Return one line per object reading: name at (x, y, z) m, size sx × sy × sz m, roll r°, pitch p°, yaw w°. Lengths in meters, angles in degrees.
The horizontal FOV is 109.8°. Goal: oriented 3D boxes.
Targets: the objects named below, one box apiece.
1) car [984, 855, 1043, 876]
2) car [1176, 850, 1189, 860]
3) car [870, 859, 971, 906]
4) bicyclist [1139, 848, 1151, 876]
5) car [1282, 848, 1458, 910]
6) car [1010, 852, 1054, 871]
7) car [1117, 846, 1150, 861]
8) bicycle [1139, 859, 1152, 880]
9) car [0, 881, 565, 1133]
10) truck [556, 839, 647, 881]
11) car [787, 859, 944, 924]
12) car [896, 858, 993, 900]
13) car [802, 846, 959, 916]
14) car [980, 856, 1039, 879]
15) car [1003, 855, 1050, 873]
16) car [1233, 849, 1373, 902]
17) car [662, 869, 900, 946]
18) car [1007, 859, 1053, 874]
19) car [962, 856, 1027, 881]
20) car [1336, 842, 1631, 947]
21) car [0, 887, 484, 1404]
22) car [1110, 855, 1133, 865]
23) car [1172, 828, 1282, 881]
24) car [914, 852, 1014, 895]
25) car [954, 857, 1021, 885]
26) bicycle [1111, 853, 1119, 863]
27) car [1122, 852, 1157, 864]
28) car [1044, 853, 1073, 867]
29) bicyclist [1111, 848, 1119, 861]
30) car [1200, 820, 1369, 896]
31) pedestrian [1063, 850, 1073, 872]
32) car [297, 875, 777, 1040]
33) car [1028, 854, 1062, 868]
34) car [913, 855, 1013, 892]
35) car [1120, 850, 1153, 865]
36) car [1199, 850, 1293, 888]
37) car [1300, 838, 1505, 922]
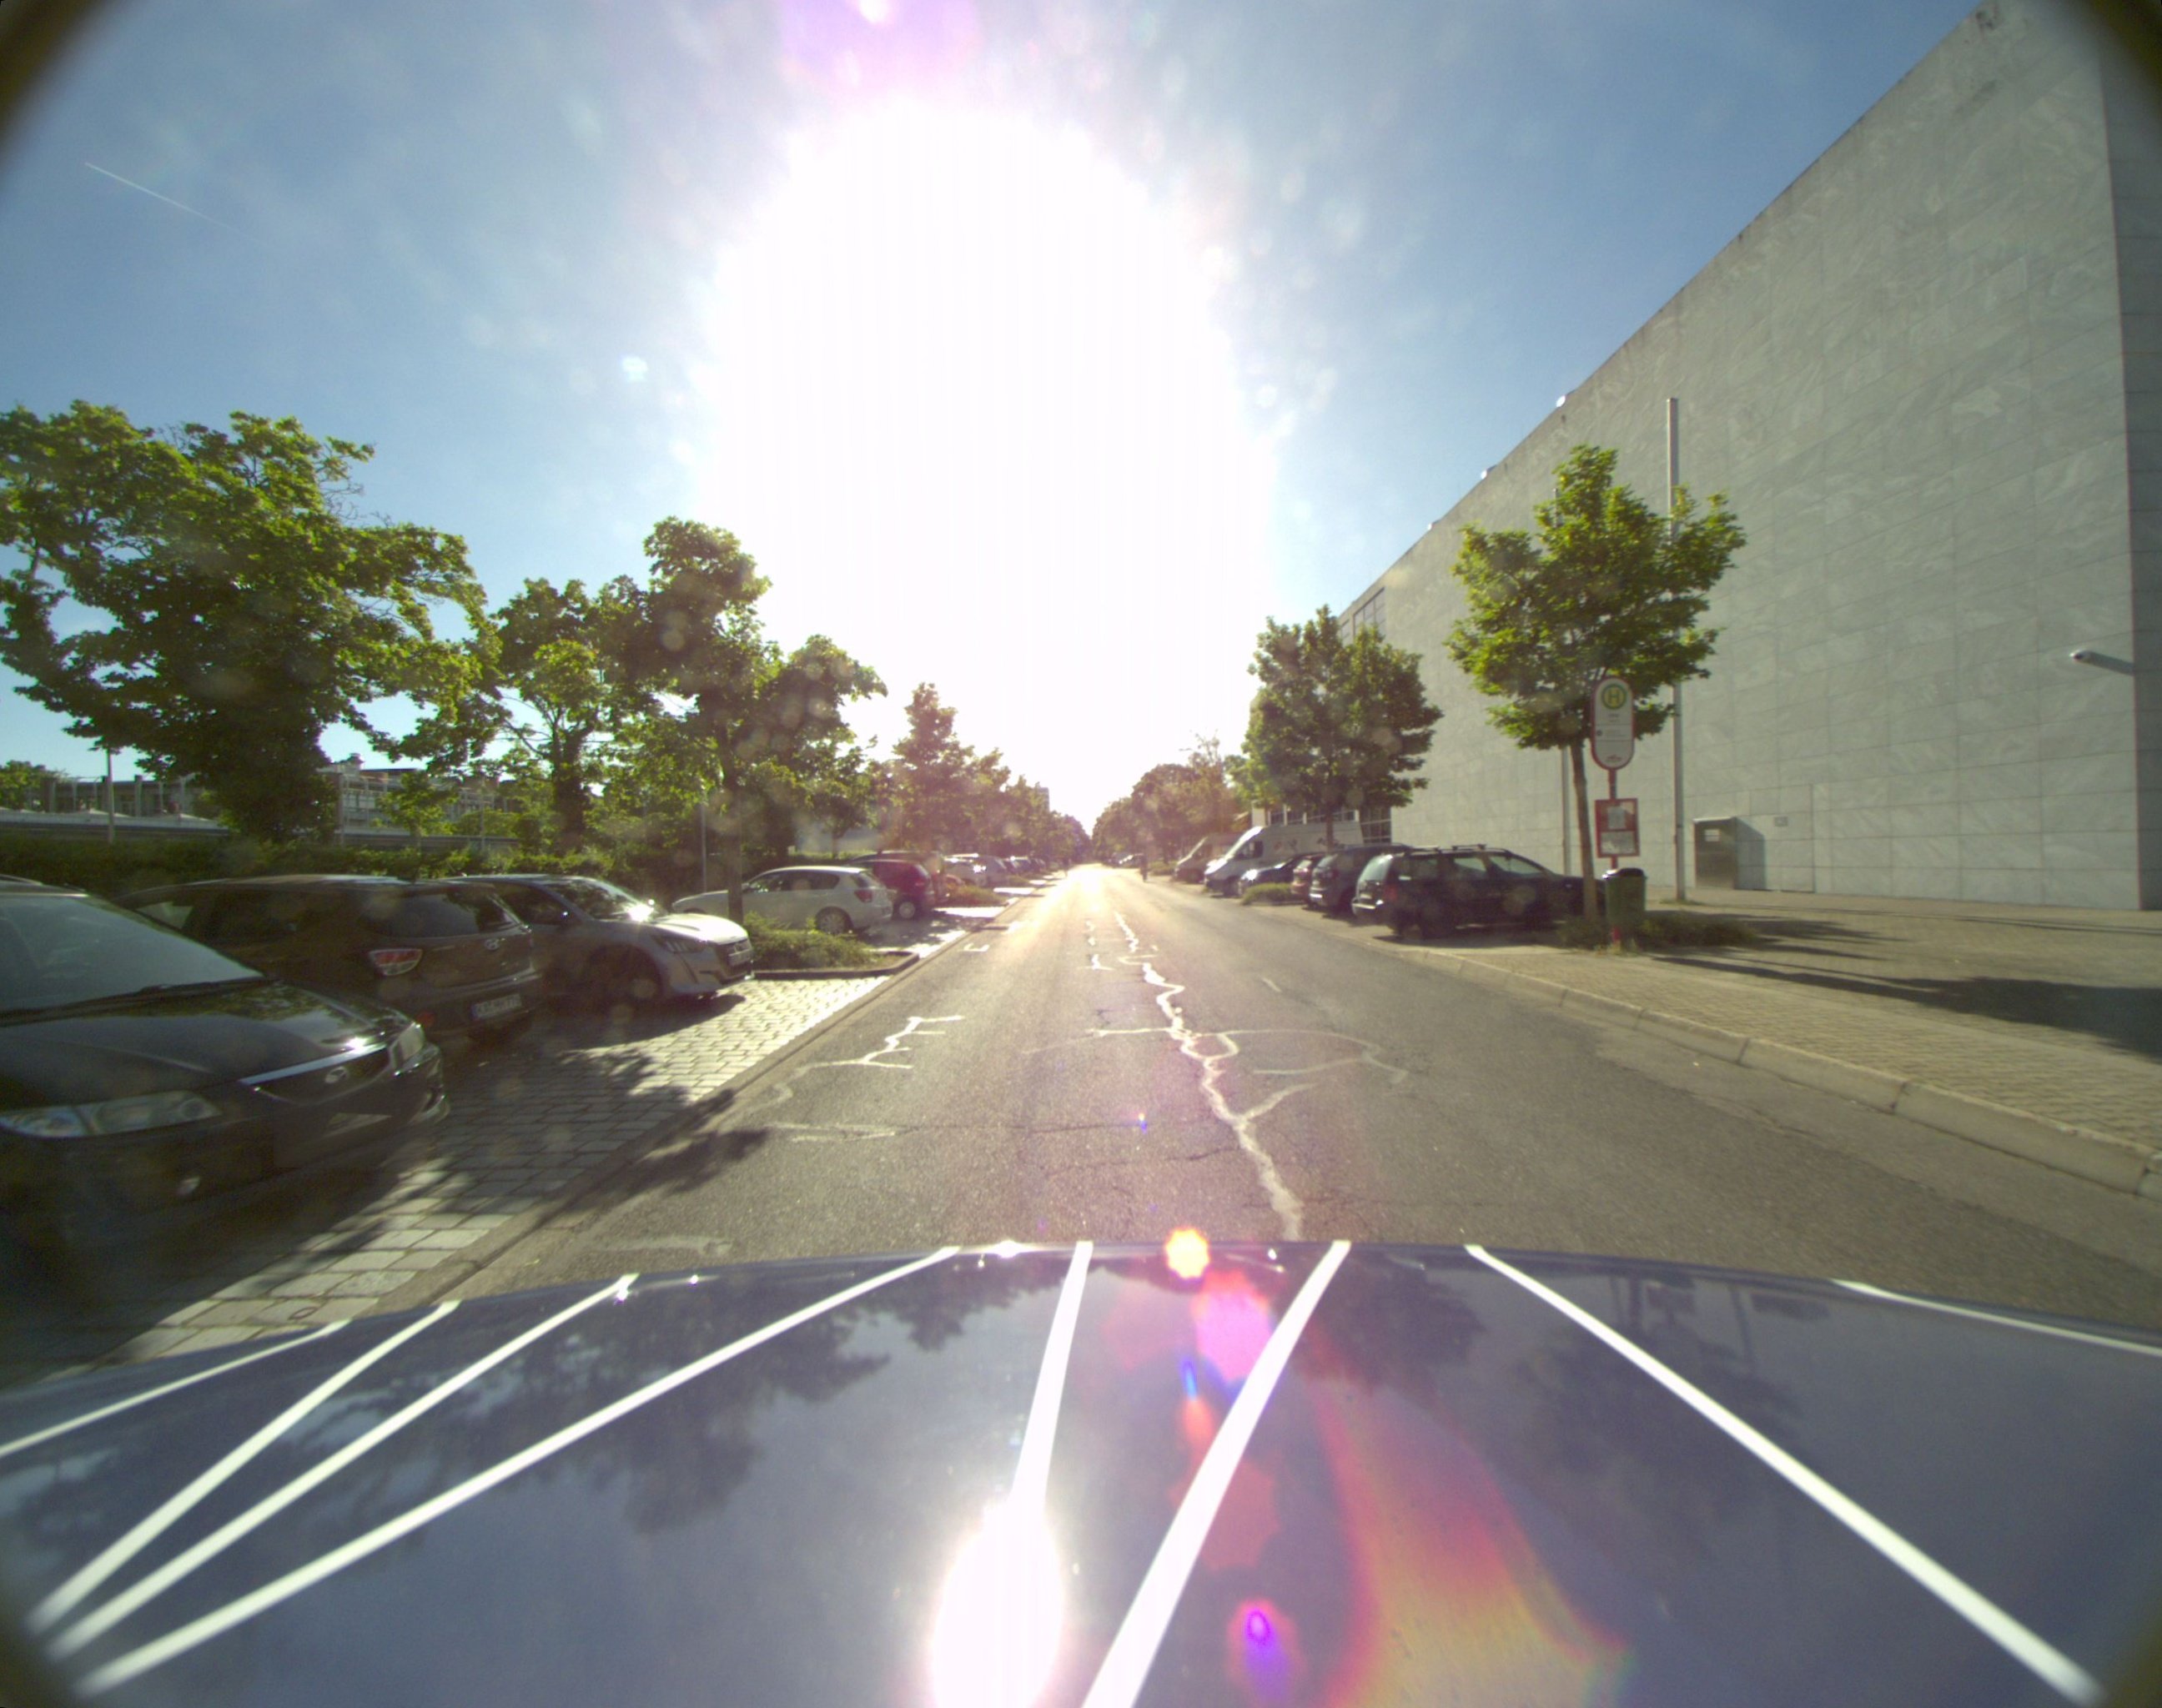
car at (-4.875, 0.827, 55.385) m, size 4.197 × 1.511 × 1.736 m, roll -1°, pitch 0°, yaw -1°
car at (16.648, 0.150, 124.645) m, size 1.833 × 1.604 × 4.145 m, roll 0°, pitch 0°, yaw 5°
car at (-5.657, 0.982, 27.136) m, size 3.374 × 1.521 × 1.599 m, roll -1°, pitch 1°, yaw -8°
bicyclist at (3.659, 0.465, 43.277) m, size 0.685 × 1.571 × 1.061 m, roll 0°, pitch 1°, yaw 5°
car at (7.598, 0.634, 20.276) m, size 3.996 × 1.508 × 1.855 m, roll -1°, pitch 1°, yaw 1°
car at (-4.711, 0.729, 74.007) m, size 4.165 × 1.836 × 1.880 m, roll 0°, pitch 0°, yaw 1°
car at (8.444, -0.046, 122.832) m, size 5.132 × 2.364 × 2.000 m, roll -1°, pitch -1°, yaw 0°
bicycle at (3.673, 0.866, 43.335) m, size 0.699 × 1.104 × 2.080 m, roll 0°, pitch 0°, yaw 5°
car at (-6.394, 1.022, 5.684) m, size 3.872 × 1.495 × 1.652 m, roll -1°, pitch 0°, yaw -2°
truck at (-45.832, 0.587, 72.781) m, size 6.917 × 3.783 × 2.813 m, roll -1°, pitch -1°, yaw 2°
car at (-5.561, 0.954, 19.921) m, size 3.615 × 1.540 × 1.707 m, roll -1°, pitch -1°, yaw -1°
car at (-5.245, 0.947, 29.543) m, size 3.507 × 1.520 × 1.737 m, roll -1°, pitch -1°, yaw -4°
car at (-5.881, 0.788, 22.667) m, size 4.129 × 1.916 × 1.979 m, roll -1°, pitch -1°, yaw -1°
car at (-4.955, 0.959, 53.000) m, size 3.909 × 1.459 × 1.621 m, roll -1°, pitch -1°, yaw -1°
car at (-4.597, 0.850, 64.807) m, size 3.909 × 1.418 × 1.672 m, roll -1°, pitch 1°, yaw -1°
car at (7.041, 0.666, 24.407) m, size 3.942 × 1.476 × 1.785 m, roll -3°, pitch 0°, yaw 2°
car at (-5.902, 1.031, 15.264) m, size 4.071 × 1.417 × 1.742 m, roll 0°, pitch 1°, yaw 2°
car at (-4.747, 1.153, 70.691) m, size 4.165 × 1.398 × 1.829 m, roll 0°, pitch 0°, yaw -1°
car at (-5.533, 0.909, 48.821) m, size 3.904 × 1.489 × 1.842 m, roll -1°, pitch 0°, yaw 2°
car at (6.898, 0.680, 13.389) m, size 4.140 × 1.483 × 1.869 m, roll -3°, pitch -1°, yaw 2°
car at (-5.344, 0.983, 3.258) m, size 4.155 × 1.571 × 1.741 m, roll -1°, pitch 0°, yaw 0°
car at (8.186, 1.247, 154.879) m, size 4.562 × 1.819 × 2.000 m, roll -1°, pitch -1°, yaw 0°
car at (7.544, 0.027, 39.689) m, size 5.261 × 2.404 × 2.123 m, roll -4°, pitch 0°, yaw 2°
car at (-4.889, 0.835, 32.169) m, size 3.909 × 1.685 × 1.940 m, roll -1°, pitch -1°, yaw -1°
car at (-5.049, 0.918, 41.425) m, size 3.462 × 1.480 × 1.746 m, roll 0°, pitch 1°, yaw -1°
bicycle at (3.587, 0.431, 79.946) m, size 0.759 × 0.996 × 1.872 m, roll 0°, pitch 0°, yaw 2°
car at (8.019, 0.552, 104.622) m, size 4.684 × 1.398 × 1.829 m, roll -3°, pitch 0°, yaw 2°
car at (-3.412, 0.893, 115.560) m, size 4.257 × 2.020 × 1.974 m, roll 0°, pitch 0°, yaw -1°
bicyclist at (3.581, 0.035, 79.915) m, size 0.759 × 1.423 × 1.132 m, roll 0°, pitch 0°, yaw 2°
car at (7.297, 0.142, 27.736) m, size 5.564 × 2.396 × 1.988 m, roll -3°, pitch 0°, yaw 2°
pedestrian at (-1.043, 0.524, 61.230) m, size 0.721 × 1.761 × 1.168 m, roll 0°, pitch 1°, yaw 0°
car at (-5.628, 1.032, 8.249) m, size 3.910 × 1.477 × 1.743 m, roll -1°, pitch 0°, yaw 0°
car at (-4.344, 0.858, 92.336) m, size 4.165 × 1.588 × 1.829 m, roll 0°, pitch 0°, yaw -1°
car at (-5.325, 0.875, 34.884) m, size 4.332 × 1.598 × 1.911 m, roll -1°, pitch 0°, yaw -3°
car at (8.210, 0.526, 112.283) m, size 4.633 × 1.979 × 2.000 m, roll -1°, pitch -1°, yaw 0°
car at (7.473, 0.662, 34.701) m, size 3.839 × 1.463 × 1.848 m, roll -3°, pitch 0°, yaw 3°
car at (7.397, 0.581, 17.816) m, size 3.996 × 1.654 × 1.828 m, roll -3°, pitch 0°, yaw 4°
